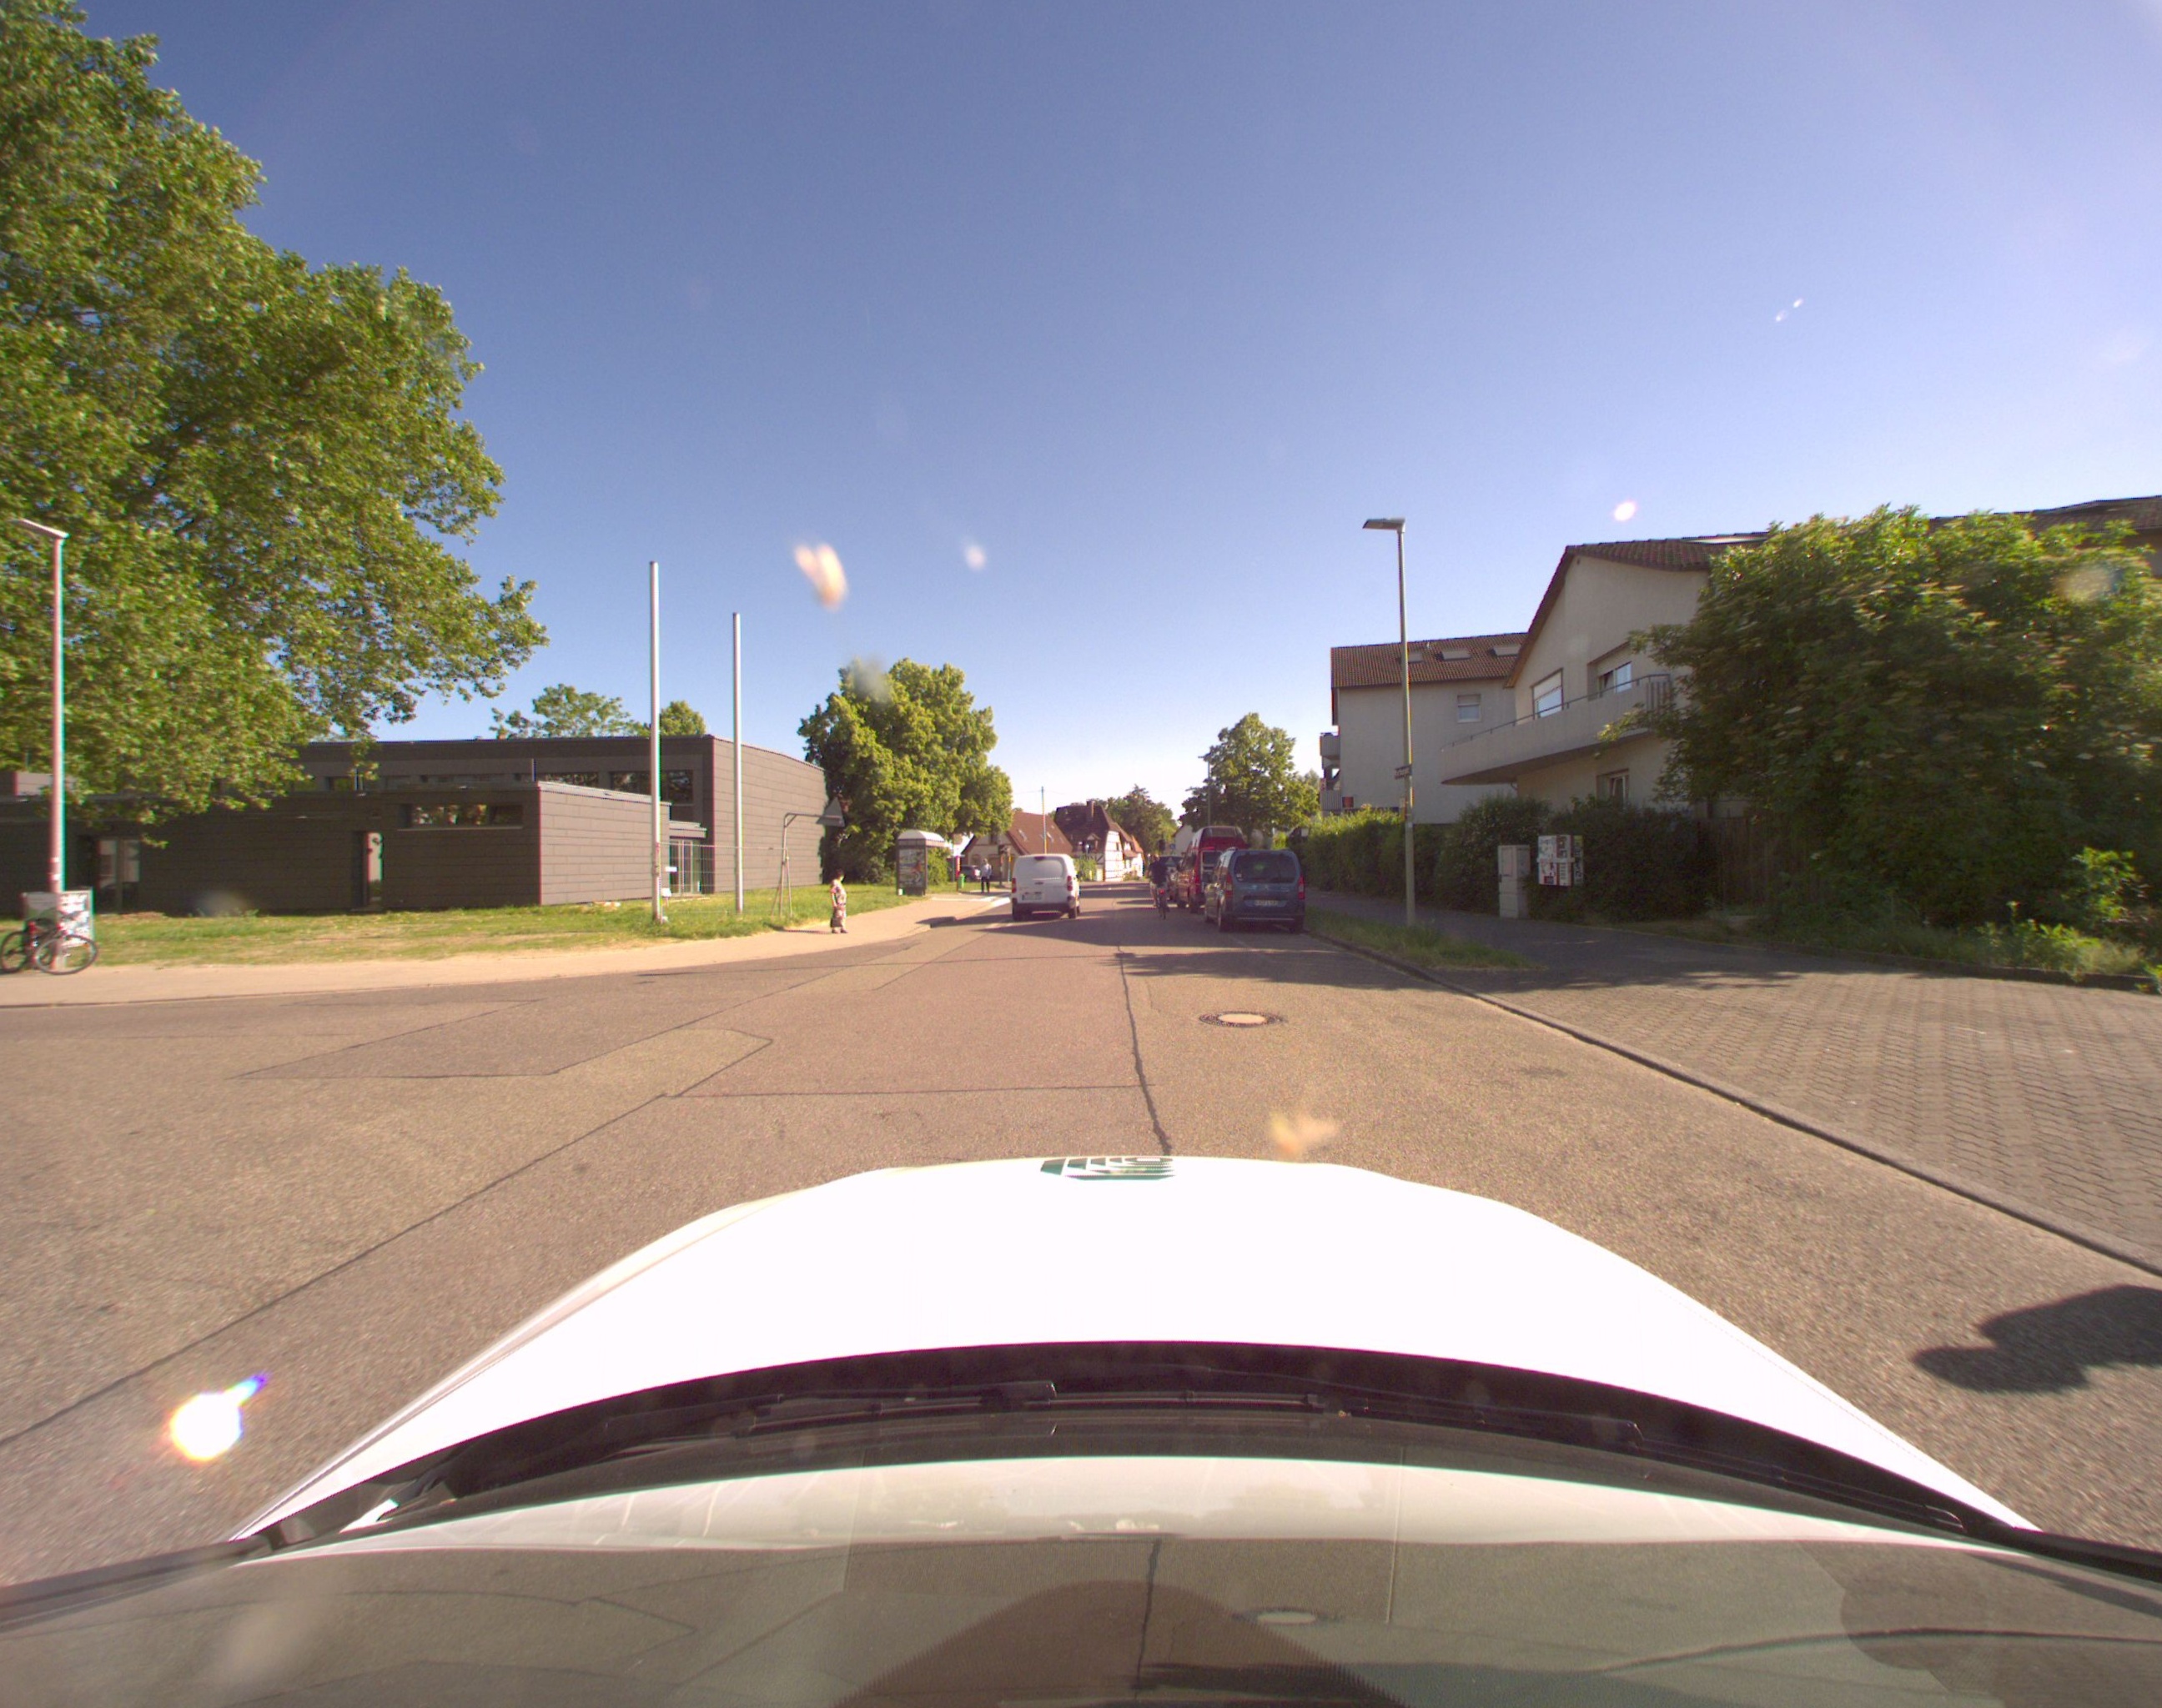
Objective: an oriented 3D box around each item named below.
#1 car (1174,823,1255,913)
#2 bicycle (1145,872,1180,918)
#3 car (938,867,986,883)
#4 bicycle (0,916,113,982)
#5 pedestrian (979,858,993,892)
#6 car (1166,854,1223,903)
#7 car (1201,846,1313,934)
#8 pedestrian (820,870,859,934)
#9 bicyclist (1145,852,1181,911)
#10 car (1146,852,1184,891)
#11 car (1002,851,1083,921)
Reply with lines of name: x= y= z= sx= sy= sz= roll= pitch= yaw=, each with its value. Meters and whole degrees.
car: x=4.098 y=0.444 z=25.746 sx=1.860 sy=2.562 sz=4.768 roll=1 pitch=-1 yaw=1
bicycle: x=2.229 y=1.101 z=22.468 sx=0.784 sy=1.138 sz=2.280 roll=-1 pitch=0 yaw=2
car: x=-10.951 y=1.967 z=75.051 sx=3.944 sy=1.429 sz=1.724 roll=-1 pitch=-1 yaw=20
bicycle: x=-16.078 y=1.472 z=12.799 sx=1.025 sy=0.887 sz=0.434 roll=-3 pitch=1 yaw=-42
pedestrian: x=-5.030 y=1.115 z=43.156 sx=0.619 sy=1.805 sz=0.640 roll=-1 pitch=-2 yaw=1
car: x=4.441 y=0.945 z=32.320 sx=1.797 sy=1.785 sz=4.001 roll=1 pitch=-1 yaw=1
car: x=3.916 y=0.768 z=18.782 sx=1.797 sy=1.785 sz=4.001 roll=1 pitch=-1 yaw=1
pedestrian: x=-5.637 y=1.105 z=19.040 sx=0.504 sy=1.446 sz=0.643 roll=2 pitch=0 yaw=35
bicyclist: x=2.236 y=0.744 z=22.435 sx=0.902 sy=1.584 sz=0.966 roll=-1 pitch=-1 yaw=1
car: x=4.604 y=0.954 z=45.083 sx=1.797 sy=2.069 sz=4.001 roll=1 pitch=-1 yaw=1
car: x=-1.037 y=0.875 z=24.076 sx=1.985 sy=1.882 sz=4.291 roll=-1 pitch=0 yaw=2
